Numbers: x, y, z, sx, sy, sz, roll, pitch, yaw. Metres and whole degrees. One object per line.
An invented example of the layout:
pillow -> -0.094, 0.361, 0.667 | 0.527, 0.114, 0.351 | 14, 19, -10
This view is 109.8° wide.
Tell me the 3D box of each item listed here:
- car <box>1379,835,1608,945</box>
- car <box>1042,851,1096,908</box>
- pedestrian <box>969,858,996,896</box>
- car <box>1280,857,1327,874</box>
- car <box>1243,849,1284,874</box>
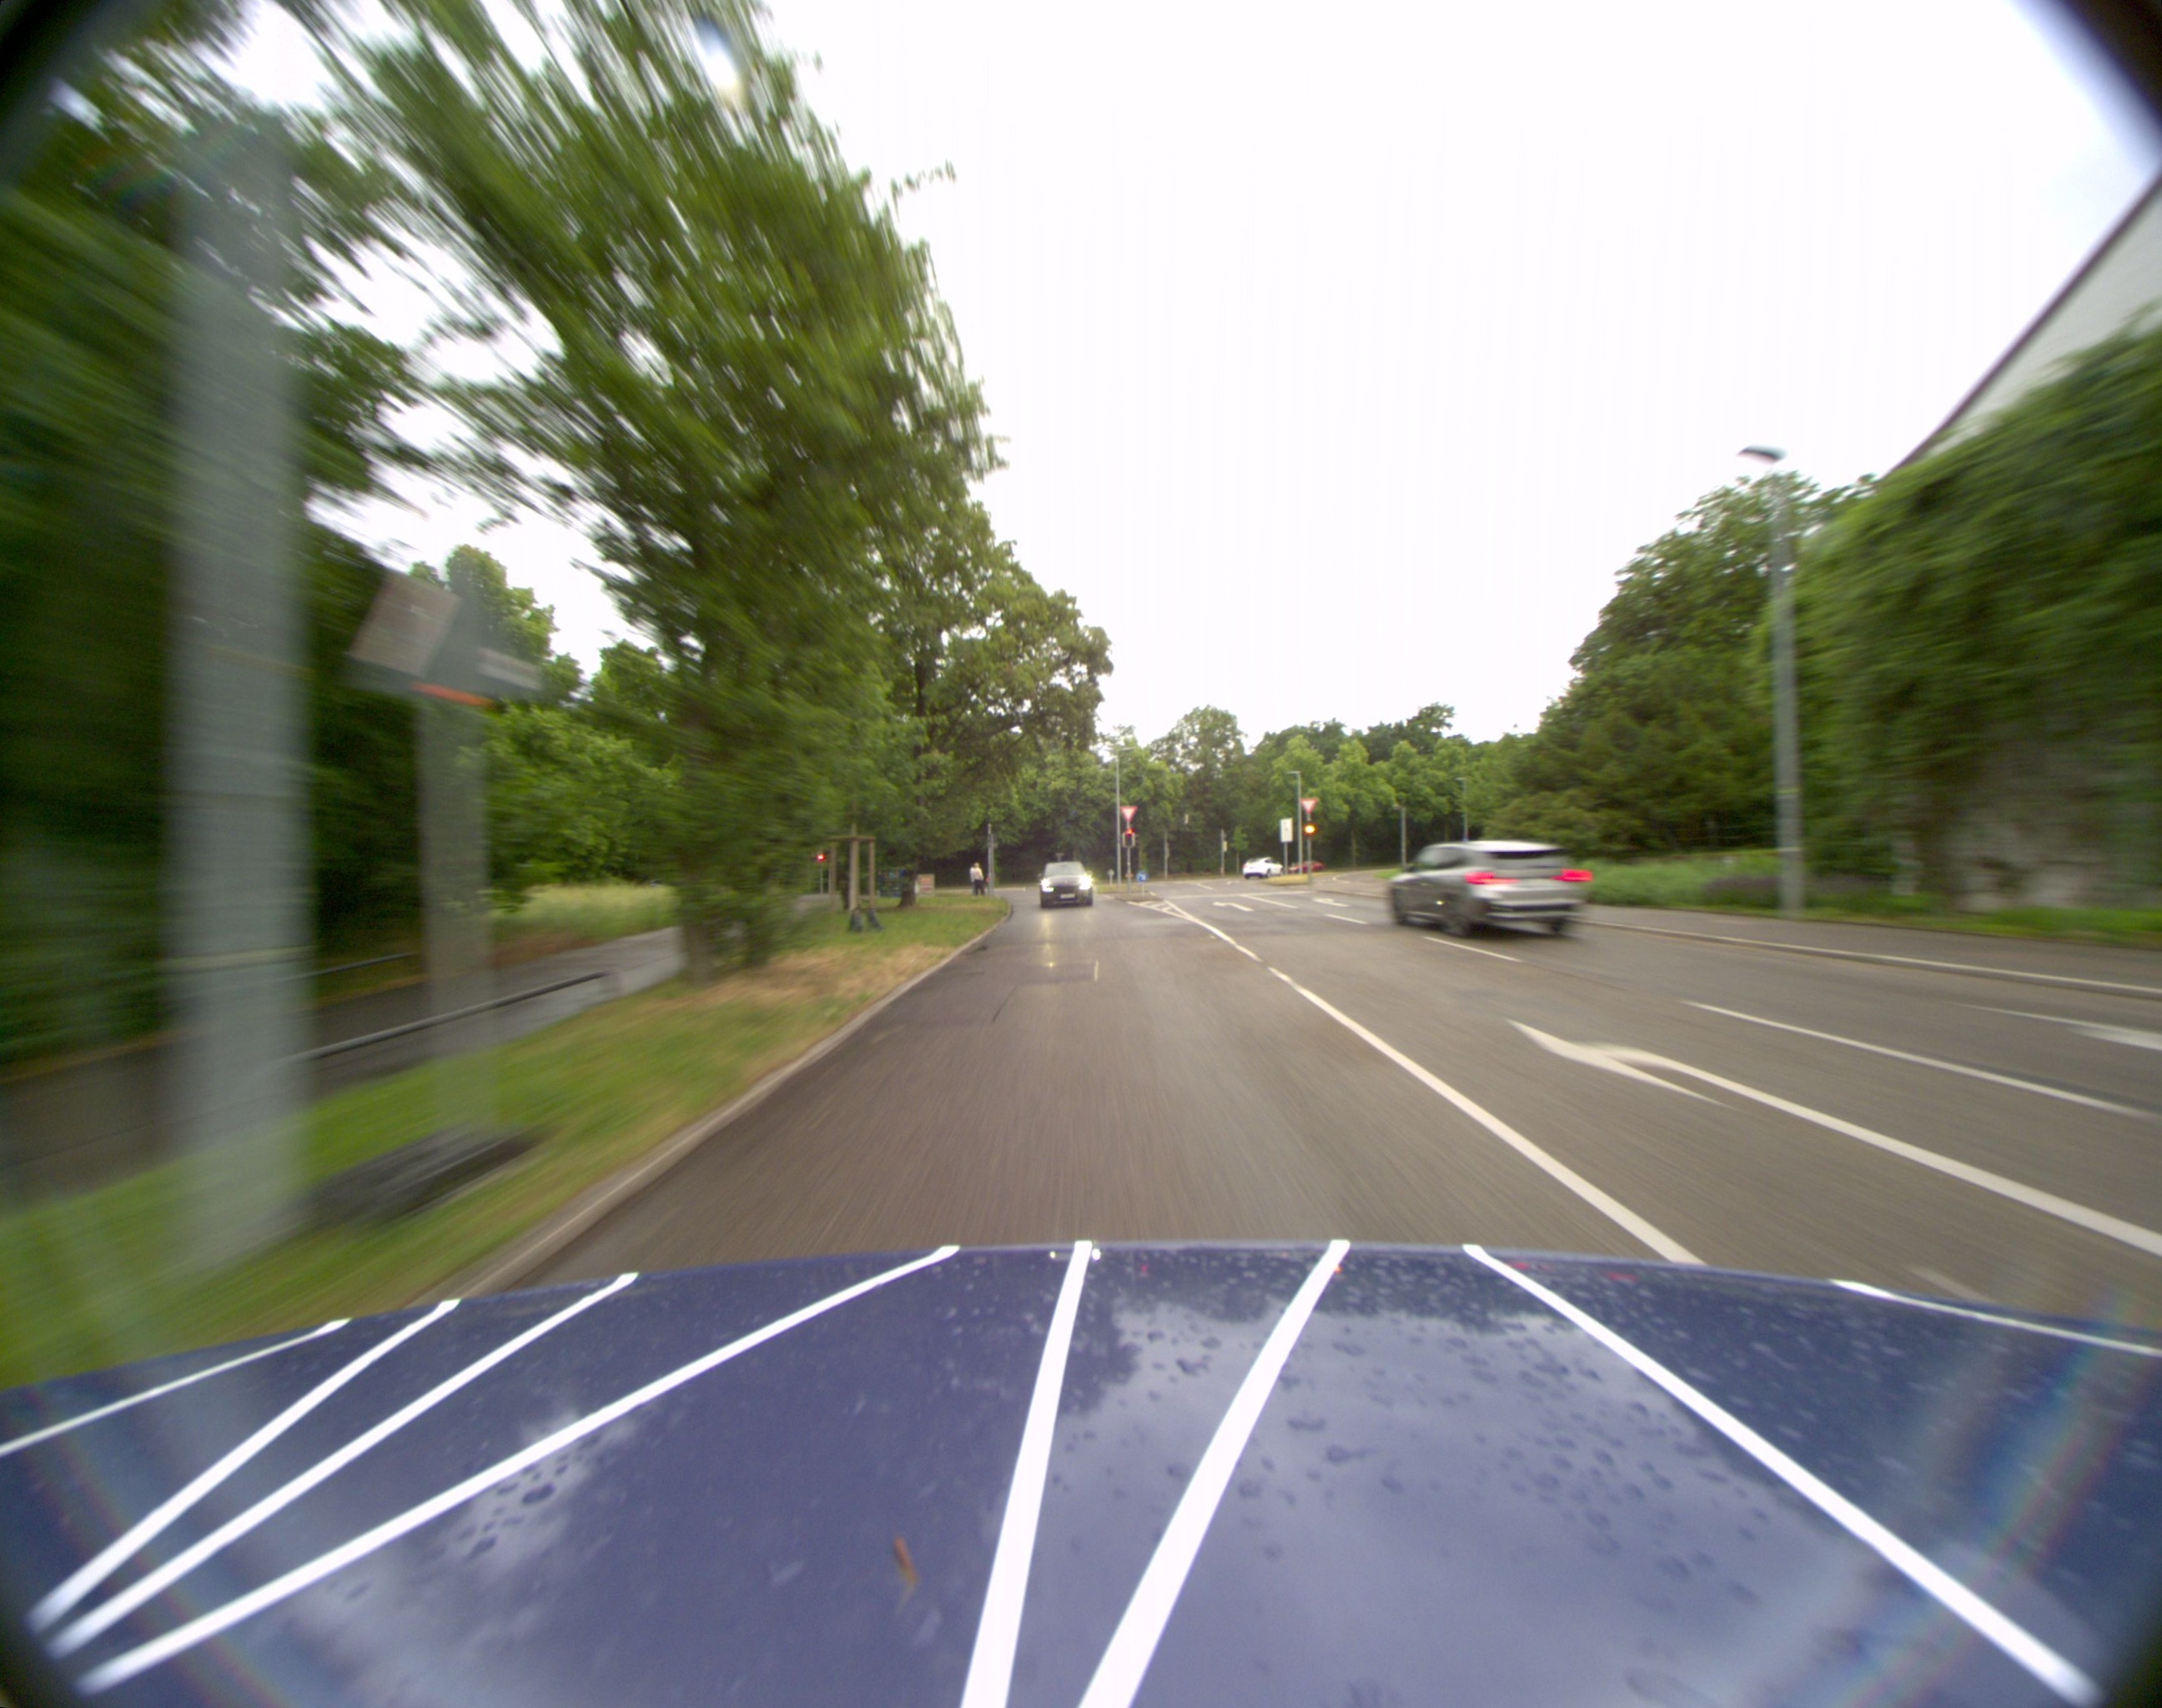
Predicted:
car -> 7.123, 0.584, 13.734 | 1.924, 1.618, 4.346 | -2, -1, 4
car -> -0.488, 0.929, 29.591 | 1.848, 1.961, 4.343 | -2, 1, -1
pedestrian -> -4.681, 1.090, 36.061 | 1.019, 1.711, 0.747 | -1, 2, 45
car -> 23.257, 1.162, 79.445 | 4.347, 1.506, 1.997 | -2, 1, -19
car -> 14.395, 0.593, 59.751 | 1.995, 1.755, 4.351 | -2, 1, 29
